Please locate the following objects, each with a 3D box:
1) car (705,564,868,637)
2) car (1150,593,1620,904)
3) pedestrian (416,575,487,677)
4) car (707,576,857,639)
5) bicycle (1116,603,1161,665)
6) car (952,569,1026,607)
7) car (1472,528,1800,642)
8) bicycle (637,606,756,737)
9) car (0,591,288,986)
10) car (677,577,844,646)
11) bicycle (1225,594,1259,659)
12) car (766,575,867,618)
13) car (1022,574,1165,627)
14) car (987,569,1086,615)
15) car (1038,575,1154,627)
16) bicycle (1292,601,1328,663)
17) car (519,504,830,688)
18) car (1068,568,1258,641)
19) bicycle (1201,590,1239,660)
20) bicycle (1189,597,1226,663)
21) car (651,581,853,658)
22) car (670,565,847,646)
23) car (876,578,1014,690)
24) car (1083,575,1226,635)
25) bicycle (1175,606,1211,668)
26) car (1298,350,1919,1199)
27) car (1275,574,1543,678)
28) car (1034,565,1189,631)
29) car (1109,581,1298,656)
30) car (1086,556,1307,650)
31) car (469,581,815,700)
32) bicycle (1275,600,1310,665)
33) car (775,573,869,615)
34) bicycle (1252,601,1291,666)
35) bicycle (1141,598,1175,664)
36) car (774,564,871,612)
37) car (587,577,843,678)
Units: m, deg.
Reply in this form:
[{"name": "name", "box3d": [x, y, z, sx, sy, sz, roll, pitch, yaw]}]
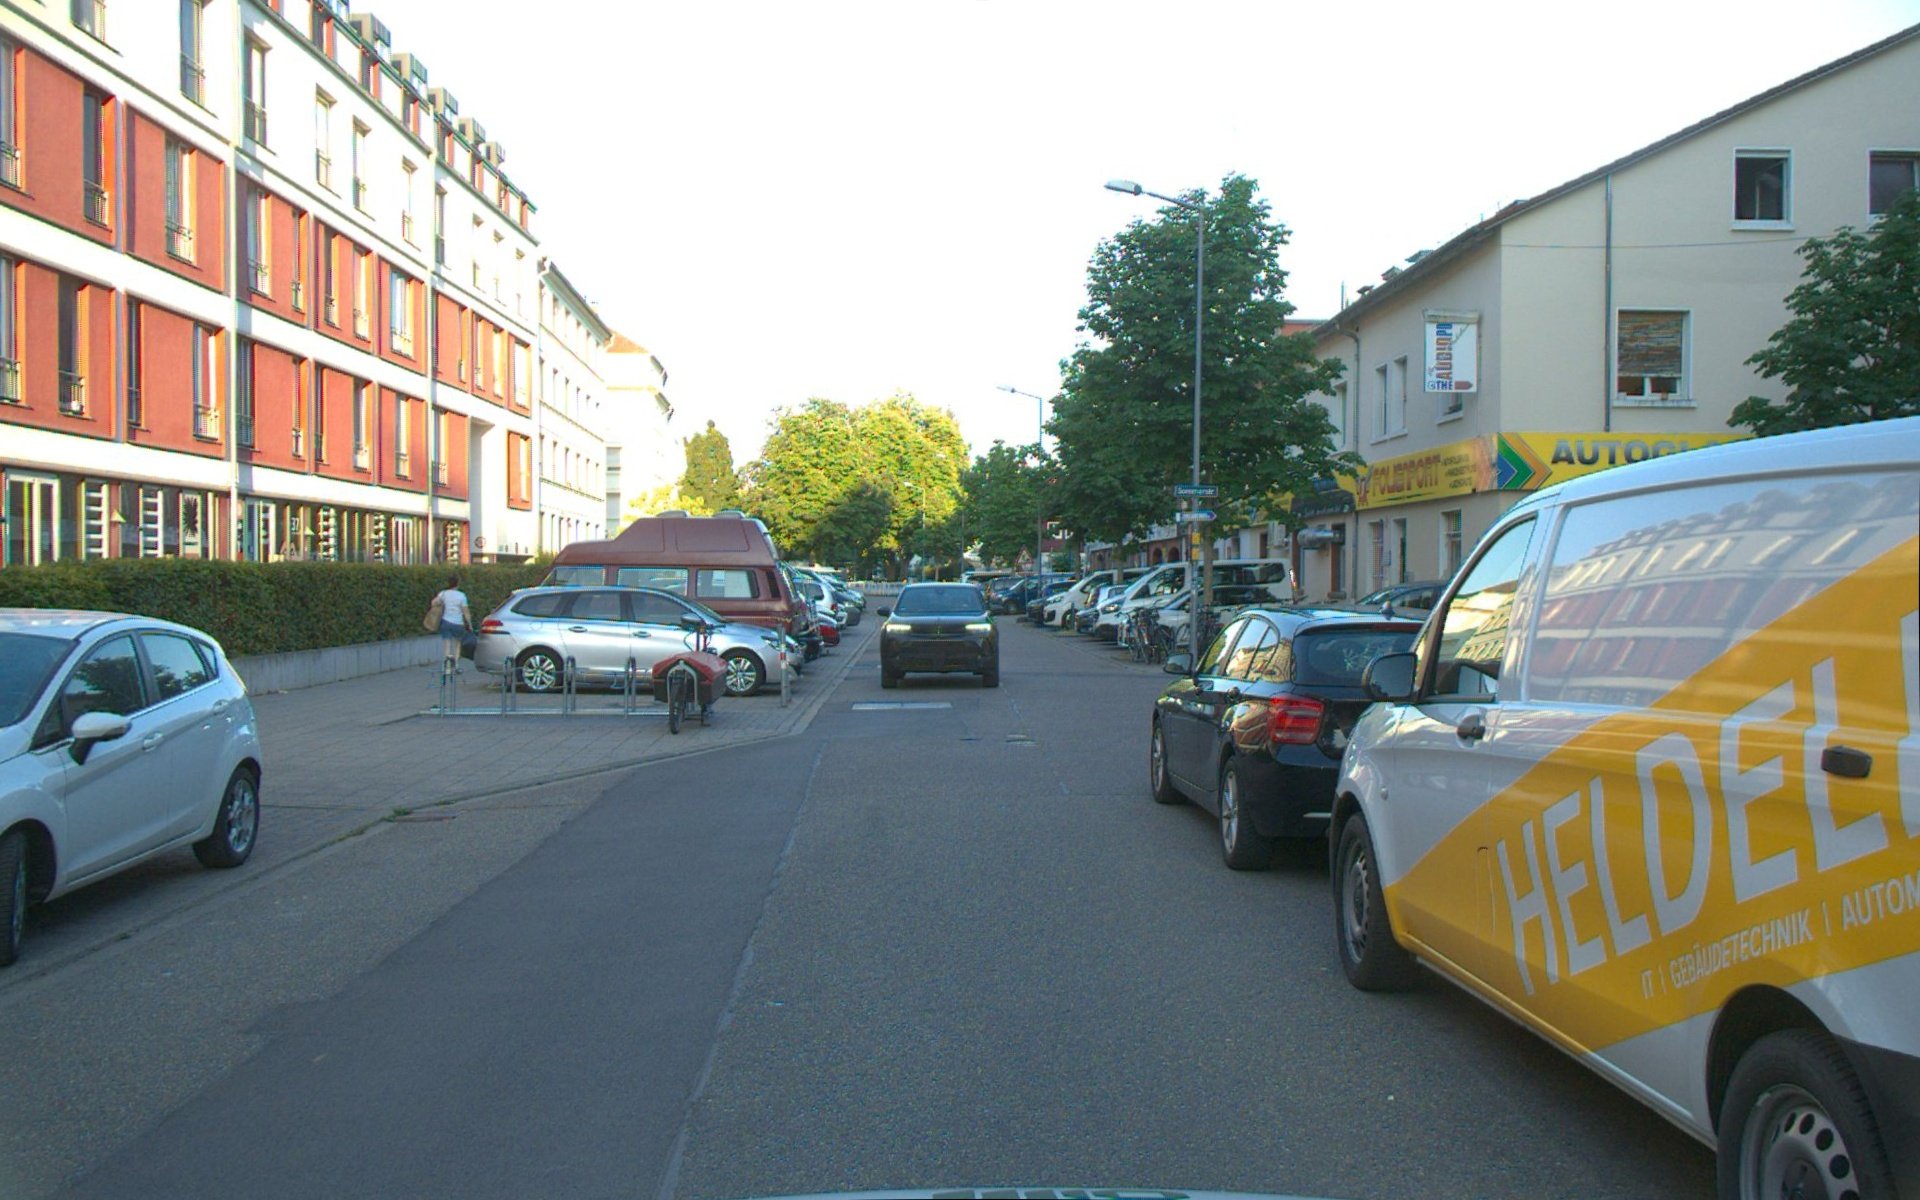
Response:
[{"name": "car", "box3d": [-5.264, 0.002, 50.686, 4.752, 2.056, 1.906, 1, 0, -2]}, {"name": "car", "box3d": [2.327, 0.721, 10.215, 1.686, 1.449, 4.252, 1, 1, -1]}, {"name": "pedestrian", "box3d": [-7.873, 0.391, 25.629, 0.815, 1.527, 0.798, 1, 0, -1]}, {"name": "car", "box3d": [-5.136, 0.203, 48.135, 4.170, 1.681, 1.887, 1, 0, -2]}, {"name": "bicycle", "box3d": [3.474, 0.642, 32.318, 0.429, 1.150, 2.014, -1, 1, -6]}, {"name": "car", "box3d": [1.608, -0.661, 92.585, 3.892, 1.945, 2.047, -2, 1, -6]}, {"name": "car", "box3d": [9.173, -0.208, 22.678, 3.846, 1.480, 1.658, 0, 1, 4]}, {"name": "bicycle", "box3d": [-2.798, 0.718, 17.888, 0.791, 1.242, 2.865, 1, 1, 0]}, {"name": "car", "box3d": [-4.778, 0.759, 8.018, 1.618, 1.557, 4.014, 1, 1, -4]}, {"name": "car", "box3d": [-5.218, 0.281, 43.778, 4.170, 1.689, 2.000, 1, 1, -1]}, {"name": "bicycle", "box3d": [5.525, 0.504, 32.420, 0.378, 1.221, 1.481, -1, 1, -1]}, {"name": "car", "box3d": [-6.195, -0.159, 71.762, 4.170, 1.744, 2.000, 1, 1, -1]}, {"name": "car", "box3d": [4.771, 0.011, 59.582, 4.846, 1.718, 2.076, -2, 1, -3]}, {"name": "car", "box3d": [3.540, -0.380, 77.034, 4.393, 1.945, 1.686, -2, 0, -6]}, {"name": "car", "box3d": [5.276, 0.036, 64.500, 4.231, 1.835, 1.810, -2, 1, -3]}, {"name": "bicycle", "box3d": [6.867, 0.611, 32.490, 0.346, 1.163, 1.481, -1, 1, -1]}, {"name": "car", "box3d": [-4.351, -0.066, 25.723, 4.419, 2.629, 2.000, 1, 0, 0]}, {"name": "car", "box3d": [5.440, 0.115, 44.834, 4.843, 1.772, 2.049, -2, 1, -1]}, {"name": "bicycle", "box3d": [5.109, 0.472, 32.568, 0.378, 1.327, 2.017, -1, 1, -1]}, {"name": "bicycle", "box3d": [4.854, 0.564, 32.554, 0.378, 1.221, 2.017, -1, 1, -1]}, {"name": "car", "box3d": [-4.457, 0.403, 35.902, 4.123, 1.516, 1.849, 2, 1, -1]}, {"name": "car", "box3d": [-4.979, 0.130, 41.310, 4.170, 1.868, 2.000, 1, 0, -1]}, {"name": "car", "box3d": [-0.148, 0.454, 25.330, 1.742, 1.544, 4.002, -1, 1, 4]}, {"name": "car", "box3d": [5.533, 0.141, 47.469, 3.832, 1.552, 1.939, -2, 1, -1]}, {"name": "bicycle", "box3d": [4.576, 0.705, 32.562, 0.378, 1.133, 2.017, -1, 1, -1]}, {"name": "car", "box3d": [2.485, 0.525, 4.693, 1.855, 1.917, 5.080, 1, 1, -2]}, {"name": "car", "box3d": [7.368, 0.406, 27.389, 3.968, 1.540, 1.756, -1, 2, -1]}, {"name": "car", "box3d": [4.978, -0.075, 54.781, 4.846, 1.992, 2.048, -2, 1, -3]}, {"name": "car", "box3d": [5.369, 0.387, 36.702, 3.841, 1.476, 1.767, -2, 1, -4]}, {"name": "car", "box3d": [5.571, 0.049, 39.491, 4.888, 2.018, 2.219, -2, 1, -1]}, {"name": "car", "box3d": [-4.332, 0.537, 23.150, 4.525, 1.485, 1.879, 1, 1, -5]}, {"name": "bicycle", "box3d": [6.515, 0.625, 32.401, 0.346, 1.221, 1.481, -1, 1, -1]}, {"name": "car", "box3d": [-6.356, -0.279, 76.530, 4.170, 1.780, 2.000, 1, 0, -1]}, {"name": "bicycle", "box3d": [6.095, 0.641, 32.402, 0.436, 1.221, 1.481, -1, 1, -1]}, {"name": "bicycle", "box3d": [3.879, 0.582, 32.513, 0.378, 1.221, 2.017, -1, 1, -1]}, {"name": "car", "box3d": [-6.556, -0.571, 79.161, 4.442, 2.171, 2.000, 1, 0, -2]}, {"name": "car", "box3d": [-4.116, 0.444, 28.301, 4.125, 1.565, 1.790, 1, 1, -3]}]
